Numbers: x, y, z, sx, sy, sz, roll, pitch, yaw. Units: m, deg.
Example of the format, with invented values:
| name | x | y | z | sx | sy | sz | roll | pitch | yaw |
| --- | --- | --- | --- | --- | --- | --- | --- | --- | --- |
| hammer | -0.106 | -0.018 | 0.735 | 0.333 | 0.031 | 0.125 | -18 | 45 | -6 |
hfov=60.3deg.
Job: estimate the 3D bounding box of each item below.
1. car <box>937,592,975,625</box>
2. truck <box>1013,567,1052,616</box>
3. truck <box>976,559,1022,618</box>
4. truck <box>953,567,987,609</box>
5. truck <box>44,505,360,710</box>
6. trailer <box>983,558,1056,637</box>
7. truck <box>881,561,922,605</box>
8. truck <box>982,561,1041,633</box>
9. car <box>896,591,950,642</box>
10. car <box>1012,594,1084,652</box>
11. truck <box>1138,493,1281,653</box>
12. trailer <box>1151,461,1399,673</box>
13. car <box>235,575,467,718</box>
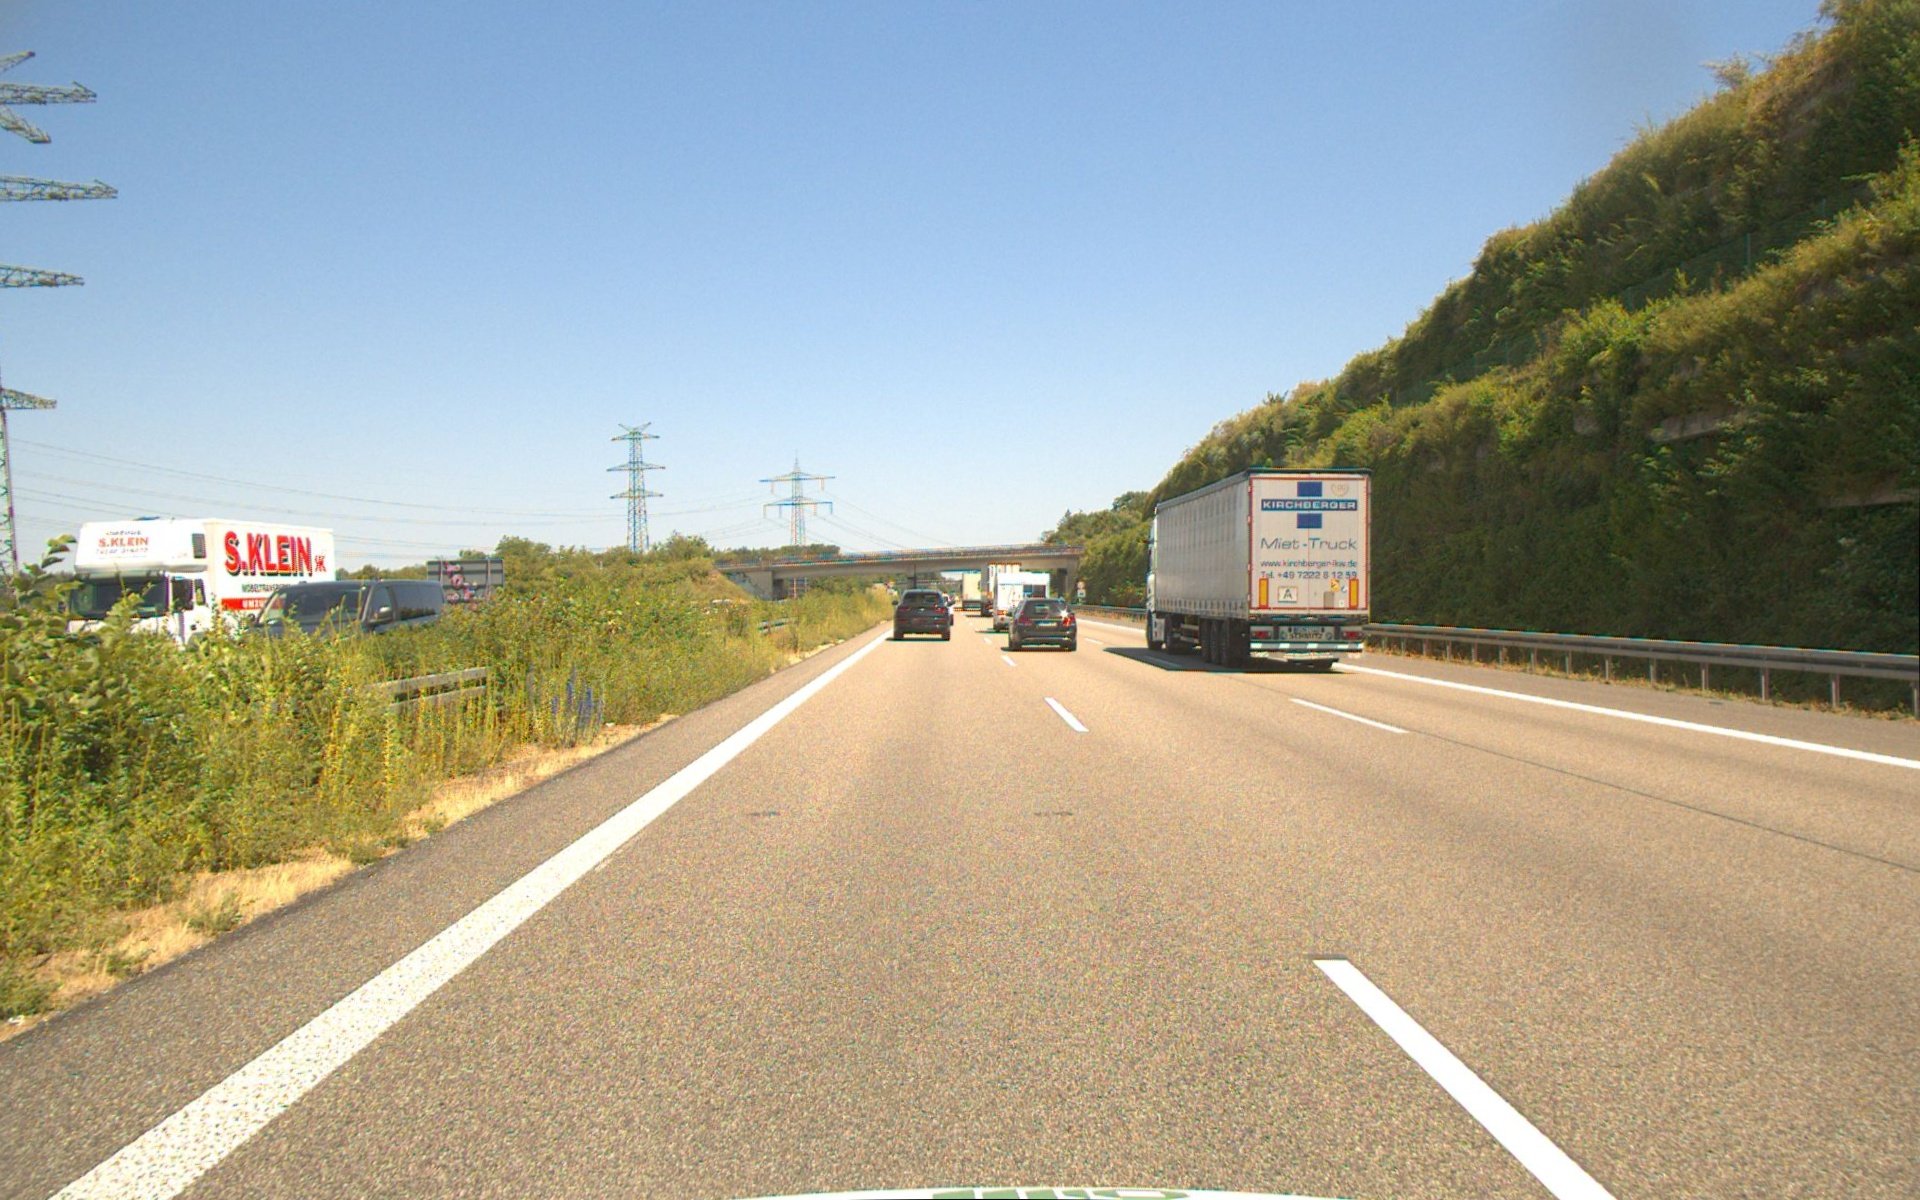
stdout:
| name | x | y | z | sx | sy | sz | roll | pitch | yaw |
| --- | --- | --- | --- | --- | --- | --- | --- | --- | --- |
| car | -0.247 | 0.454 | 88.583 | 1.793 | 1.700 | 3.998 | -1 | 0 | -3 |
| truck | 6.744 | -0.789 | 155.028 | 3.056 | 4.355 | 10.165 | -1 | 0 | -1 |
| truck | 2.983 | -0.848 | 129.005 | 3.056 | 4.355 | 11.931 | -1 | 0 | -1 |
| truck | 1.043 | -1.272 | 178.158 | 3.340 | 4.355 | 10.605 | -1 | 0 | -1 |
| truck | -17.800 | 0.129 | 39.941 | 2.815 | 4.249 | 10.567 | -1 | 0 | -1 |
| trailer | 2.571 | -0.111 | 74.312 | 2.558 | 3.269 | 9.949 | -1 | 0 | -2 |
| truck | -5.767 | -1.644 | 164.992 | 3.881 | 4.185 | 9.949 | -1 | 0 | -2 |
| truck | 2.435 | -0.146 | 79.110 | 2.541 | 3.298 | 4.697 | -1 | 0 | -1 |
| car | -1.296 | 0.547 | 57.749 | 1.793 | 1.700 | 3.999 | -1 | 0 | -2 |
| car | 2.489 | 0.635 | 47.574 | 1.792 | 1.552 | 3.999 | -1 | 0 | -1 |
| truck | 6.958 | -0.738 | 46.924 | 3.072 | 4.214 | 5.502 | -1 | 0 | -1 |
| trailer | 7.105 | -0.692 | 39.878 | 3.118 | 4.193 | 13.428 | -1 | 0 | -1 |
| car | -9.613 | 0.663 | 26.606 | 1.953 | 2.049 | 5.116 | -1 | 0 | -2 |
